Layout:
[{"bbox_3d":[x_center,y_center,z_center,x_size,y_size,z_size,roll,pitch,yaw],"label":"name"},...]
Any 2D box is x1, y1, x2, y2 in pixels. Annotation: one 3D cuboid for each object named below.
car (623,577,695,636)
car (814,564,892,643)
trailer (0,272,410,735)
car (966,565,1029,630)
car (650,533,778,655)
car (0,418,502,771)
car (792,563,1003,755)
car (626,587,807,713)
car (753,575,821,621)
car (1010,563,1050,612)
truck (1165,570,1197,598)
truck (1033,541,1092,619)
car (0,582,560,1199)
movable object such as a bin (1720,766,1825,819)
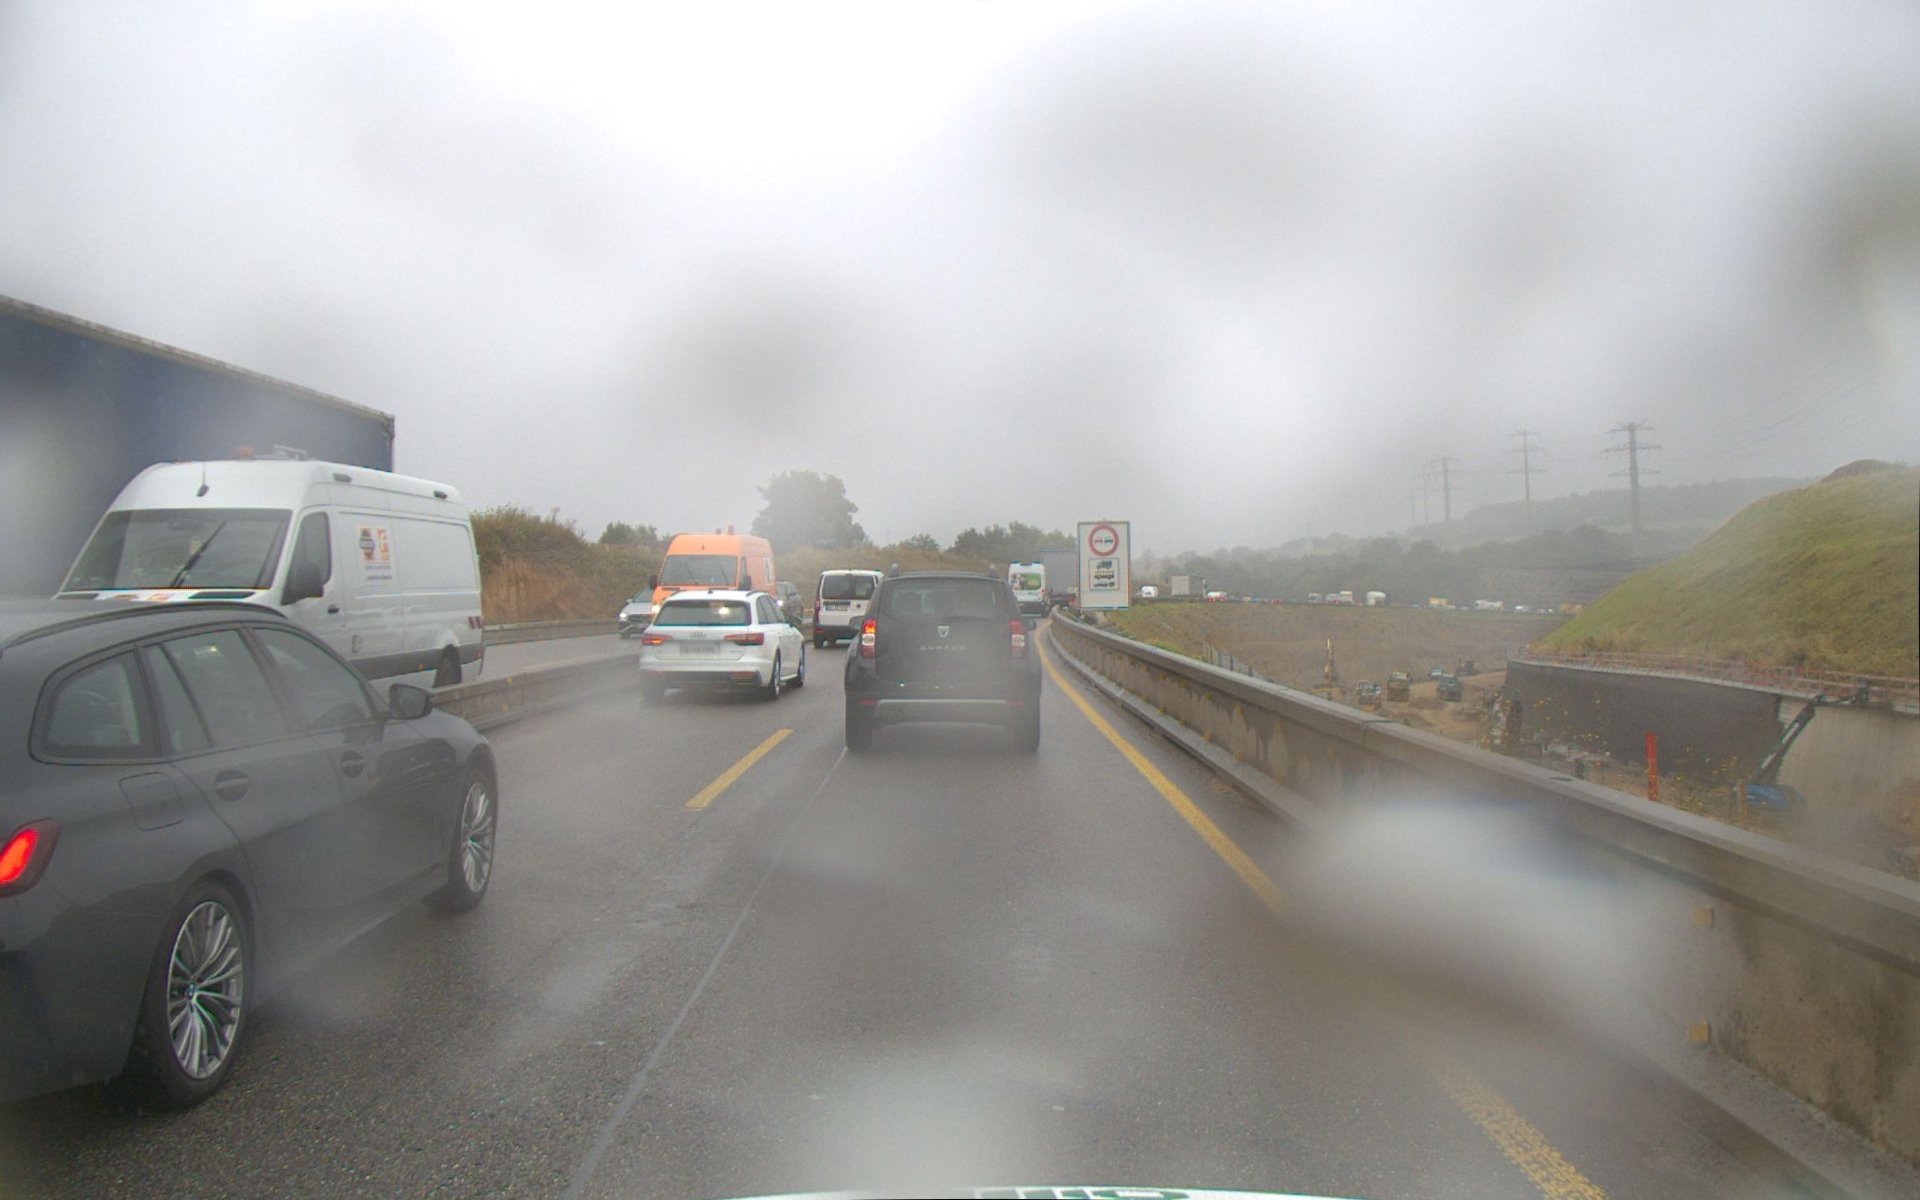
[{"bbox_3d":[-8.757,0.166,48.306,1.499,1.629,3.167,1,1,0],"label":"car"},{"bbox_3d":[-2.586,0.088,40.786,1.790,1.847,3.998,1,0,-2],"label":"car"},{"bbox_3d":[-9.855,-0.947,18.468,2.722,4.105,13.743,1,1,0],"label":"trailer"},{"bbox_3d":[1.157,-0.069,49.537,1.788,1.847,4.001,0,0,2],"label":"car"},{"bbox_3d":[-5.721,-0.180,39.383,2.012,2.622,7.020,0,1,0],"label":"car"},{"bbox_3d":[-6.423,-0.110,16.181,1.965,2.700,6.885,1,1,0],"label":"car"},{"bbox_3d":[-0.499,0.509,16.100,1.788,1.619,4.000,0,0,1],"label":"car"},{"bbox_3d":[-3.185,0.623,22.339,1.789,1.525,4.000,0,0,1],"label":"car"},{"bbox_3d":[-6.694,-0.113,64.486,1.952,1.716,4.971,1,1,2],"label":"car"},{"bbox_3d":[3.704,-0.621,87.037,1.787,2.480,4.161,0,0,7],"label":"car"},{"bbox_3d":[30.895,-2.242,230.547,3.398,3.780,8.424,-1,1,15],"label":"truck"},{"bbox_3d":[7.227,-1.288,115.400,3.468,5.166,10.449,0,0,7],"label":"truck"},{"bbox_3d":[-2.936,0.755,5.646,1.699,1.488,5.631,0,2,1],"label":"car"},{"bbox_3d":[36.340,8.576,74.054,1.979,2.049,3.790,4,-3,-37],"label":"movable object such as a bin"}]
